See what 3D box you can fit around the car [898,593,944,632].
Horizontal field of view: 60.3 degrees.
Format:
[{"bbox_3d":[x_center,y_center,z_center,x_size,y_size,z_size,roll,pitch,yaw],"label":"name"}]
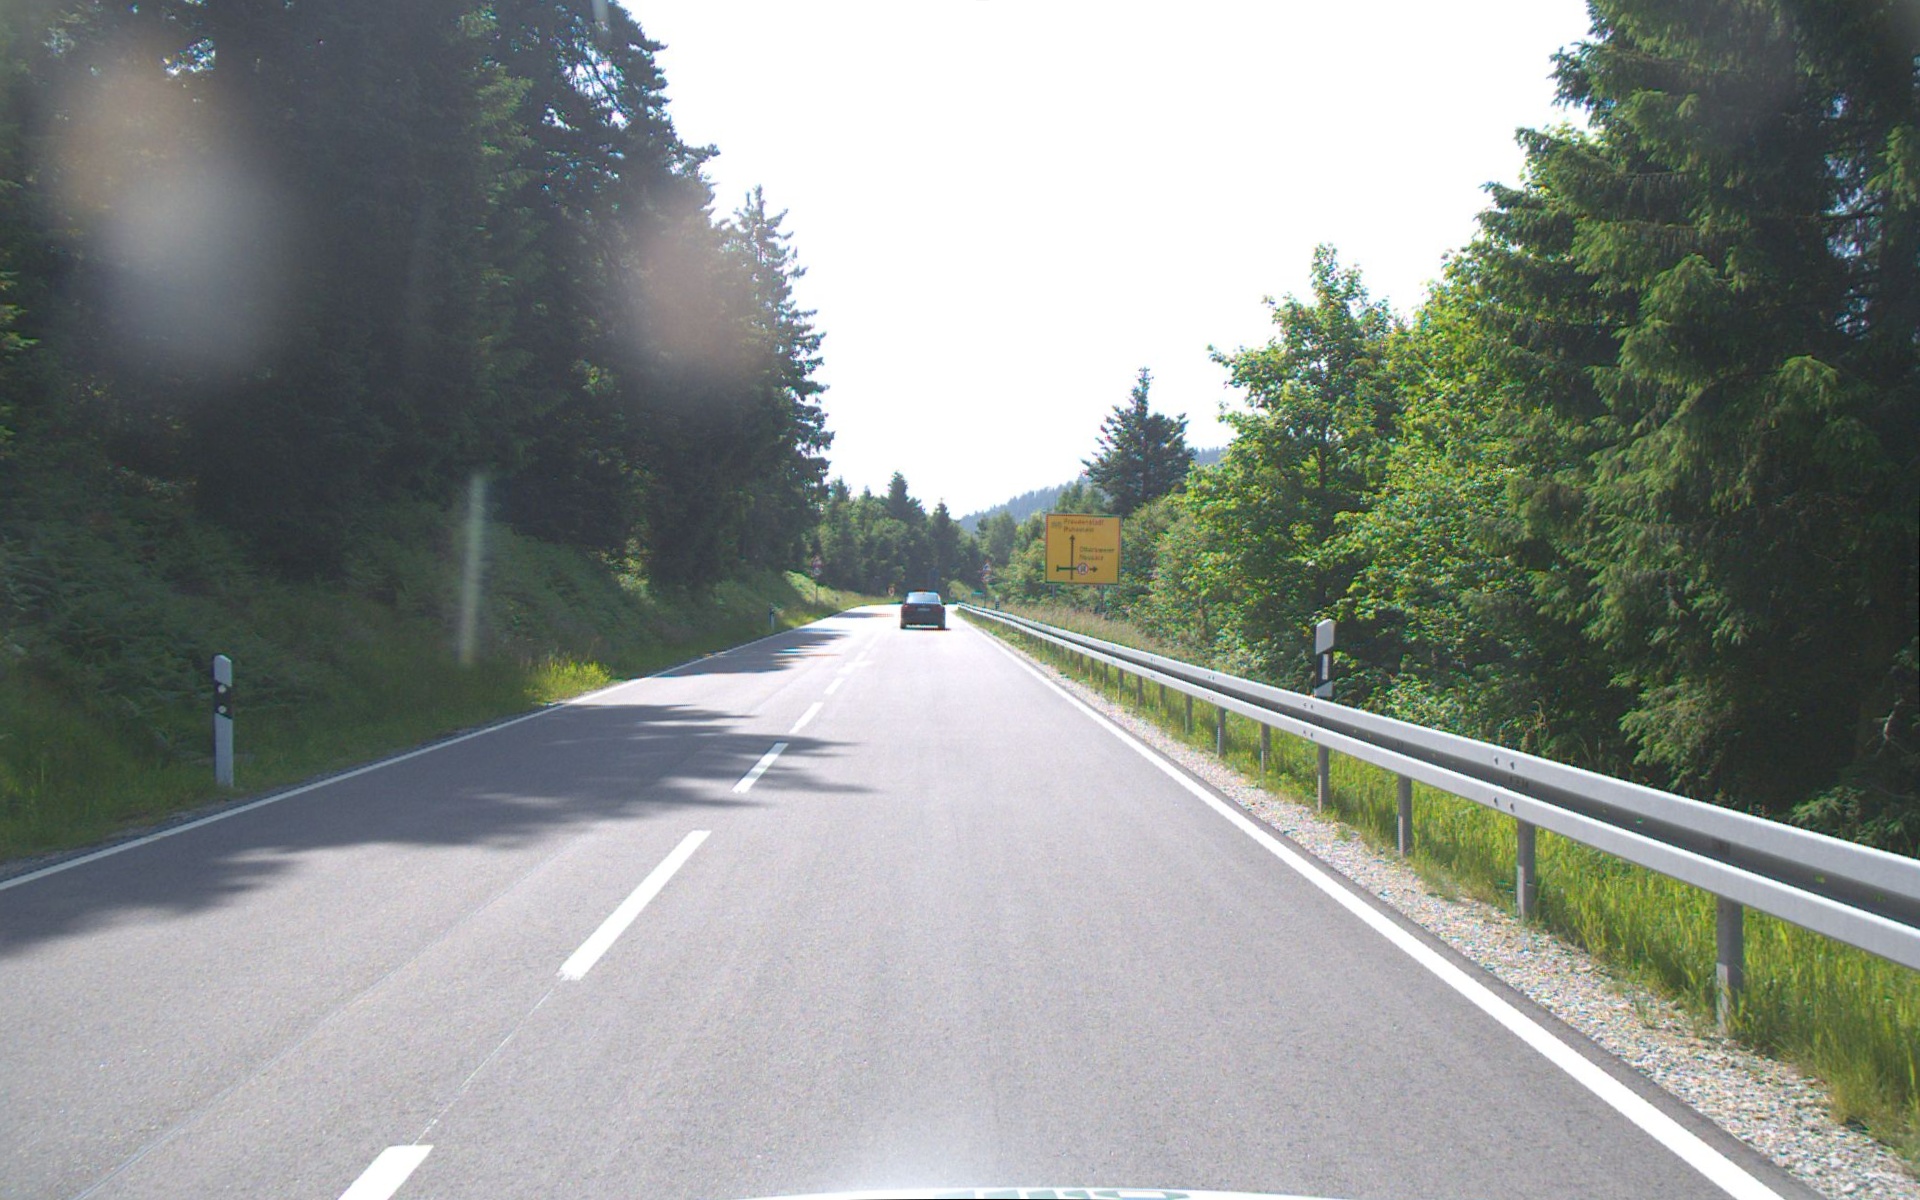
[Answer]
[{"bbox_3d":[-1.504,0.468,65.368,1.740,1.467,3.708,-1,0,-1],"label":"car"}]
